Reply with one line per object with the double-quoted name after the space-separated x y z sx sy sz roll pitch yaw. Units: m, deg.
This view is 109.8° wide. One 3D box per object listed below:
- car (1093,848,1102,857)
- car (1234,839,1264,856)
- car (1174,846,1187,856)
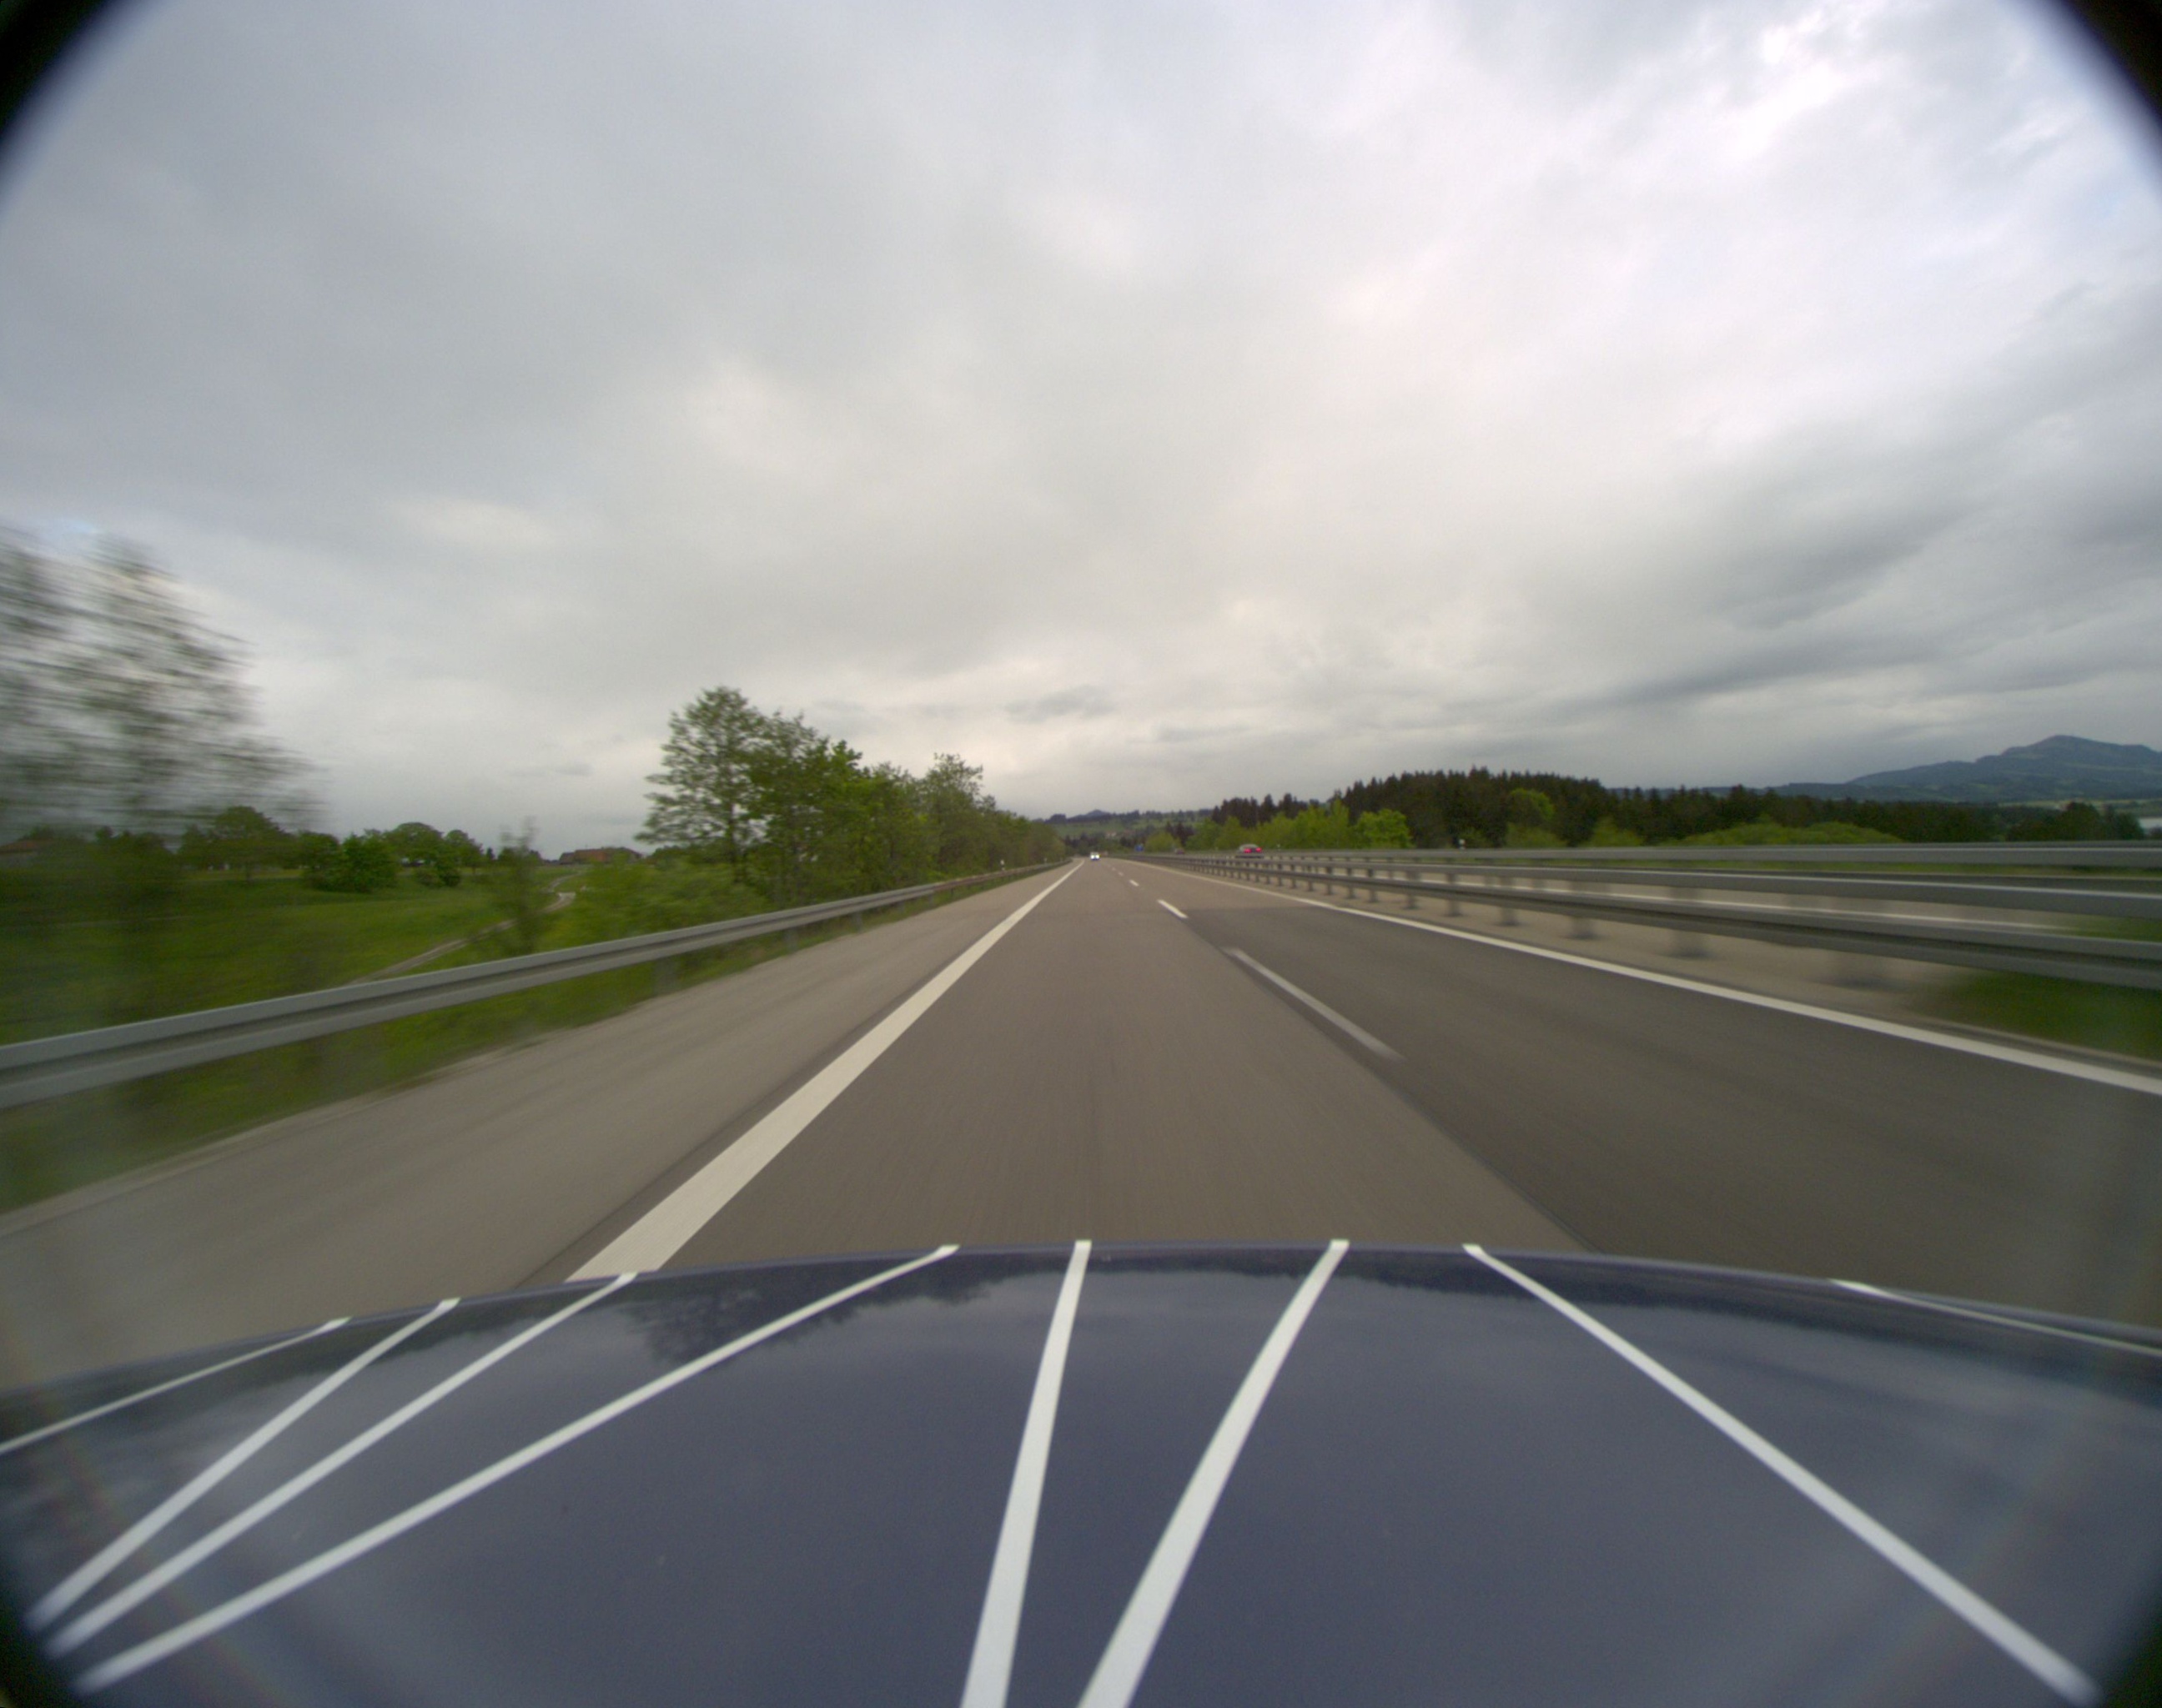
3.760 -0.352 178.160 2.021 1.899 4.221 -2 -1 1 "car"
17.413 -0.641 79.117 1.999 1.607 4.847 -3 1 0 "car"
18.503 -0.552 141.384 1.904 1.603 4.228 -3 0 1 "car"
